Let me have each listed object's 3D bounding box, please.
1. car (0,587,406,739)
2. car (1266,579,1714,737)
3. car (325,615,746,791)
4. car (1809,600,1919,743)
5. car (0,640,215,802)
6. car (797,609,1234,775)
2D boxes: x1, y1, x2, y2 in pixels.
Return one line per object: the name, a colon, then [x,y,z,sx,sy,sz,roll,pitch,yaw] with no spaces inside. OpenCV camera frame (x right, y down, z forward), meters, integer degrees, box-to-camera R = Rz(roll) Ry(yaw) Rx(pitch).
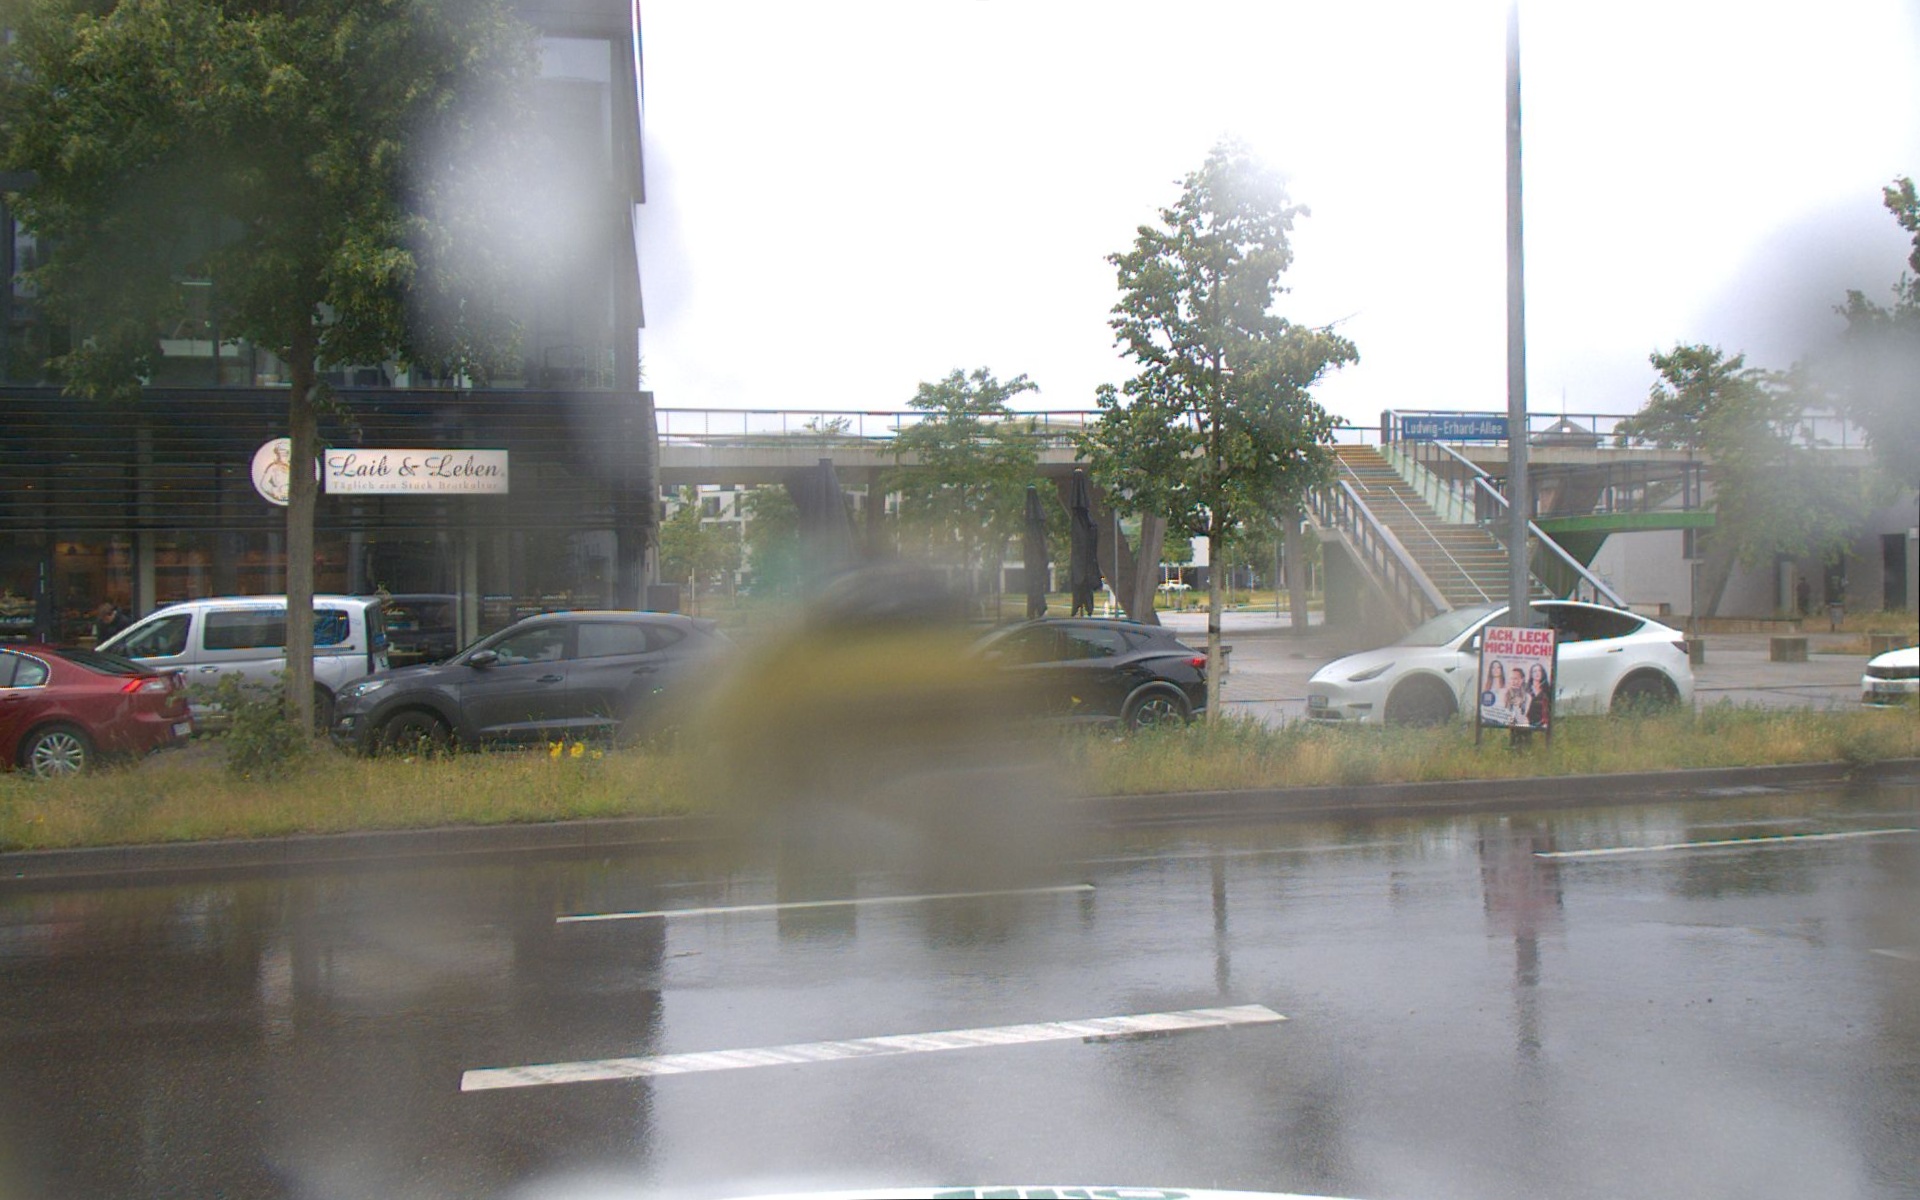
car: [-9.966,0.826,22.121,4.627,1.898,1.893,1,0,-13]
car: [6.253,0.677,19.721,4.737,1.737,1.994,1,0,-11]
car: [-4.455,1.067,17.821,4.129,1.737,1.994,1,0,-11]
car: [13.822,0.911,21.539,4.737,1.737,1.994,1,0,-11]
car: [-10.364,1.209,16.638,4.853,1.480,1.995,-1,0,-10]
car: [0.562,1.013,18.789,4.624,1.737,1.994,1,0,-11]
